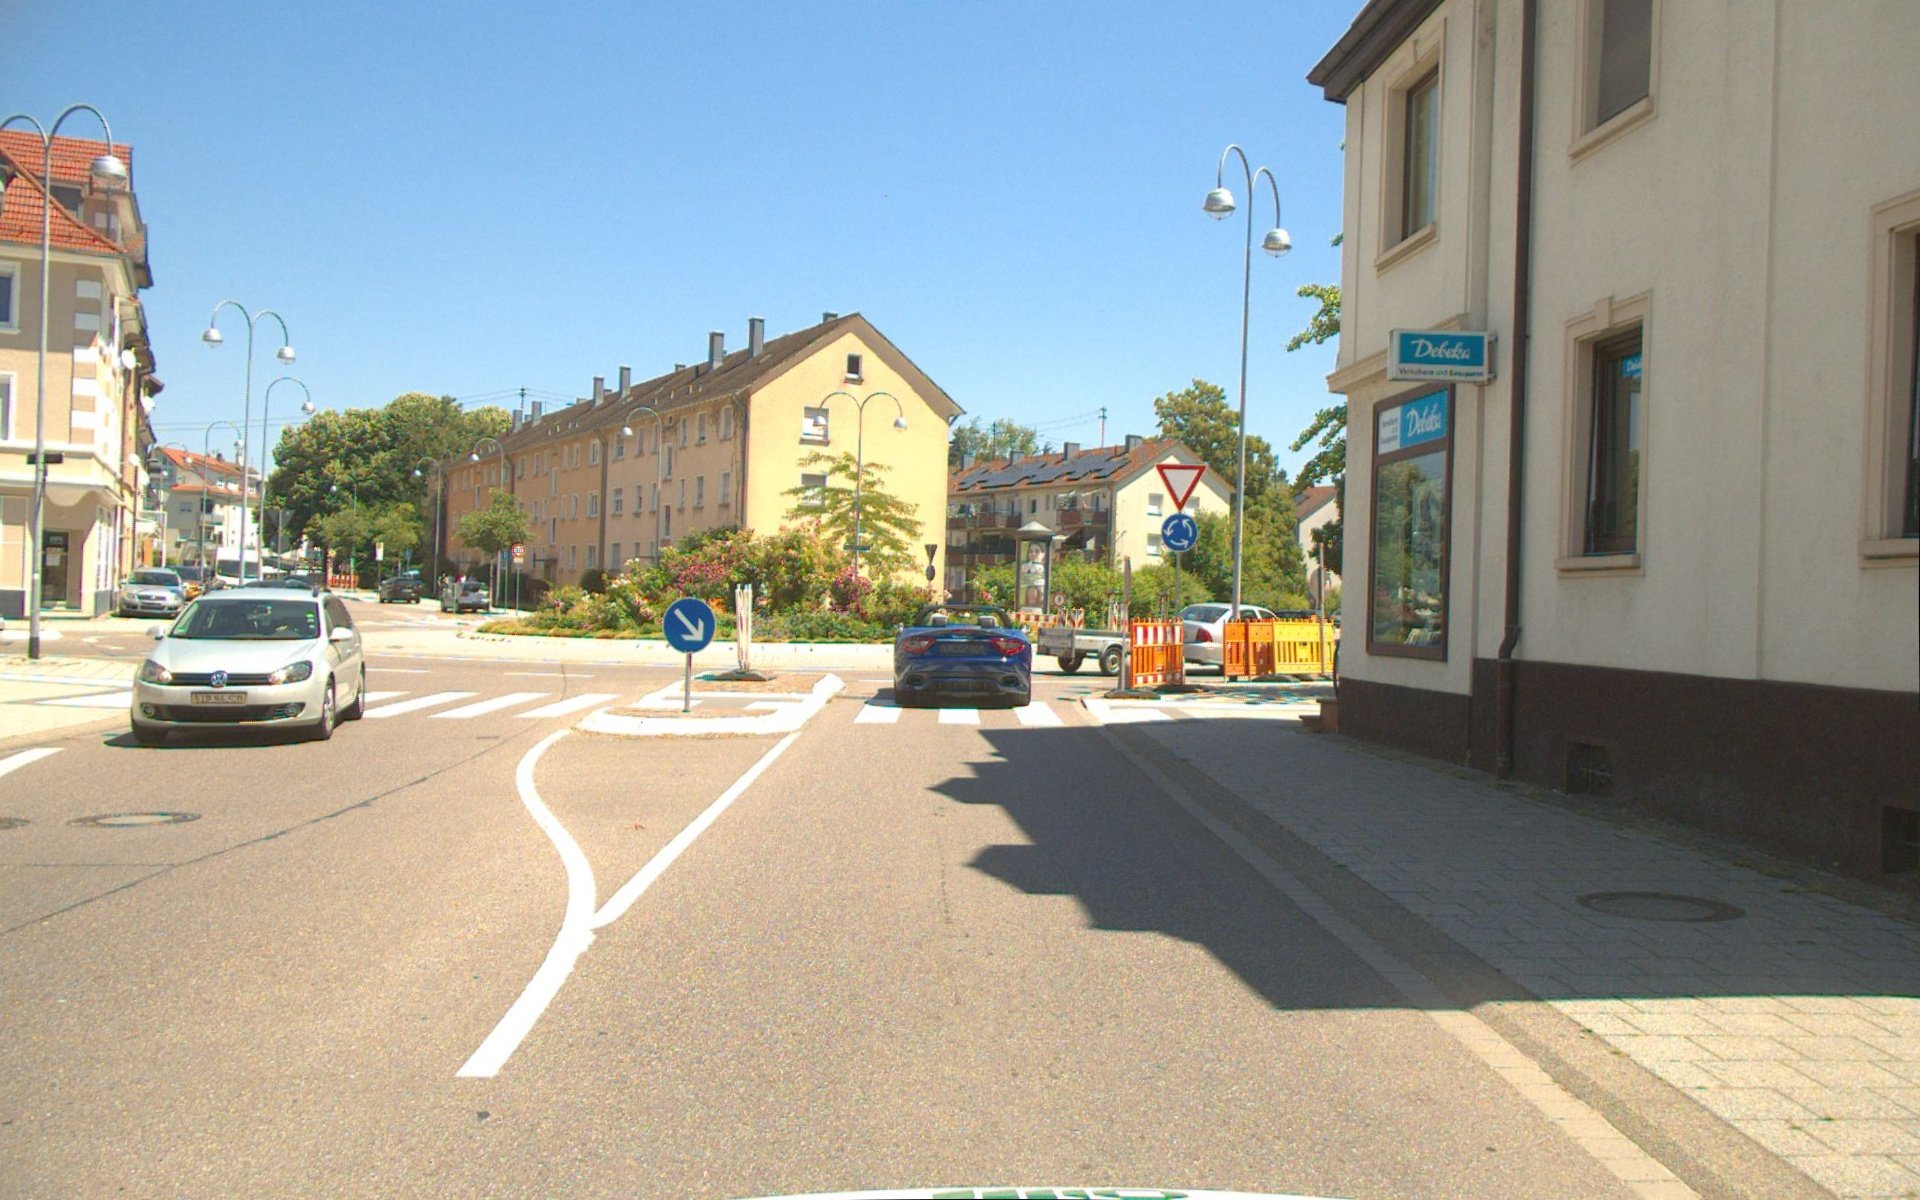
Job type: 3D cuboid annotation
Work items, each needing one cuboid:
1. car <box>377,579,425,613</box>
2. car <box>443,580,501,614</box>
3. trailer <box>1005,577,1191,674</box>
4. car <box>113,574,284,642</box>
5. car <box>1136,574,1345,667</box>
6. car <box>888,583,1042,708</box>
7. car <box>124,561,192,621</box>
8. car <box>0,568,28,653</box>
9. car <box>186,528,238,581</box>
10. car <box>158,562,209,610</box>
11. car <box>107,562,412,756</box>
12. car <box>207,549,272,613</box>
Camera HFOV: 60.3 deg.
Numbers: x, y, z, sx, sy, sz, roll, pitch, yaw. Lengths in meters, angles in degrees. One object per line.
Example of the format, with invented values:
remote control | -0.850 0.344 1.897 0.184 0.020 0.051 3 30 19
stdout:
car | -32.455 -0.256 95.913 1.794 1.825 3.959 4 -1 -30
car | -24.208 -0.169 81.955 1.794 1.526 3.959 4 -1 -30
trailer | 2.646 0.457 31.619 3.156 1.747 1.738 0 1 -32
car | -19.905 0.184 43.264 3.925 1.477 1.667 3 4 16
car | 5.729 0.422 33.654 4.076 1.777 1.767 1 0 -33
car | -0.032 0.645 23.589 1.834 1.557 4.502 2 -1 -4
car | -24.756 -0.280 51.141 1.753 1.715 4.657 2 0 -25
car | -19.735 0.117 30.495 4.045 1.578 1.781 2 -1 -14
car | -39.424 -2.333 87.111 2.119 2.577 4.812 4 -1 -27
car | -29.198 -0.532 62.264 1.578 1.645 4.059 4 -1 -25
car | -7.123 0.480 17.331 1.804 1.556 4.385 -4 3 -9
car | -31.593 -0.813 72.421 2.119 2.577 6.182 4 -1 -27
